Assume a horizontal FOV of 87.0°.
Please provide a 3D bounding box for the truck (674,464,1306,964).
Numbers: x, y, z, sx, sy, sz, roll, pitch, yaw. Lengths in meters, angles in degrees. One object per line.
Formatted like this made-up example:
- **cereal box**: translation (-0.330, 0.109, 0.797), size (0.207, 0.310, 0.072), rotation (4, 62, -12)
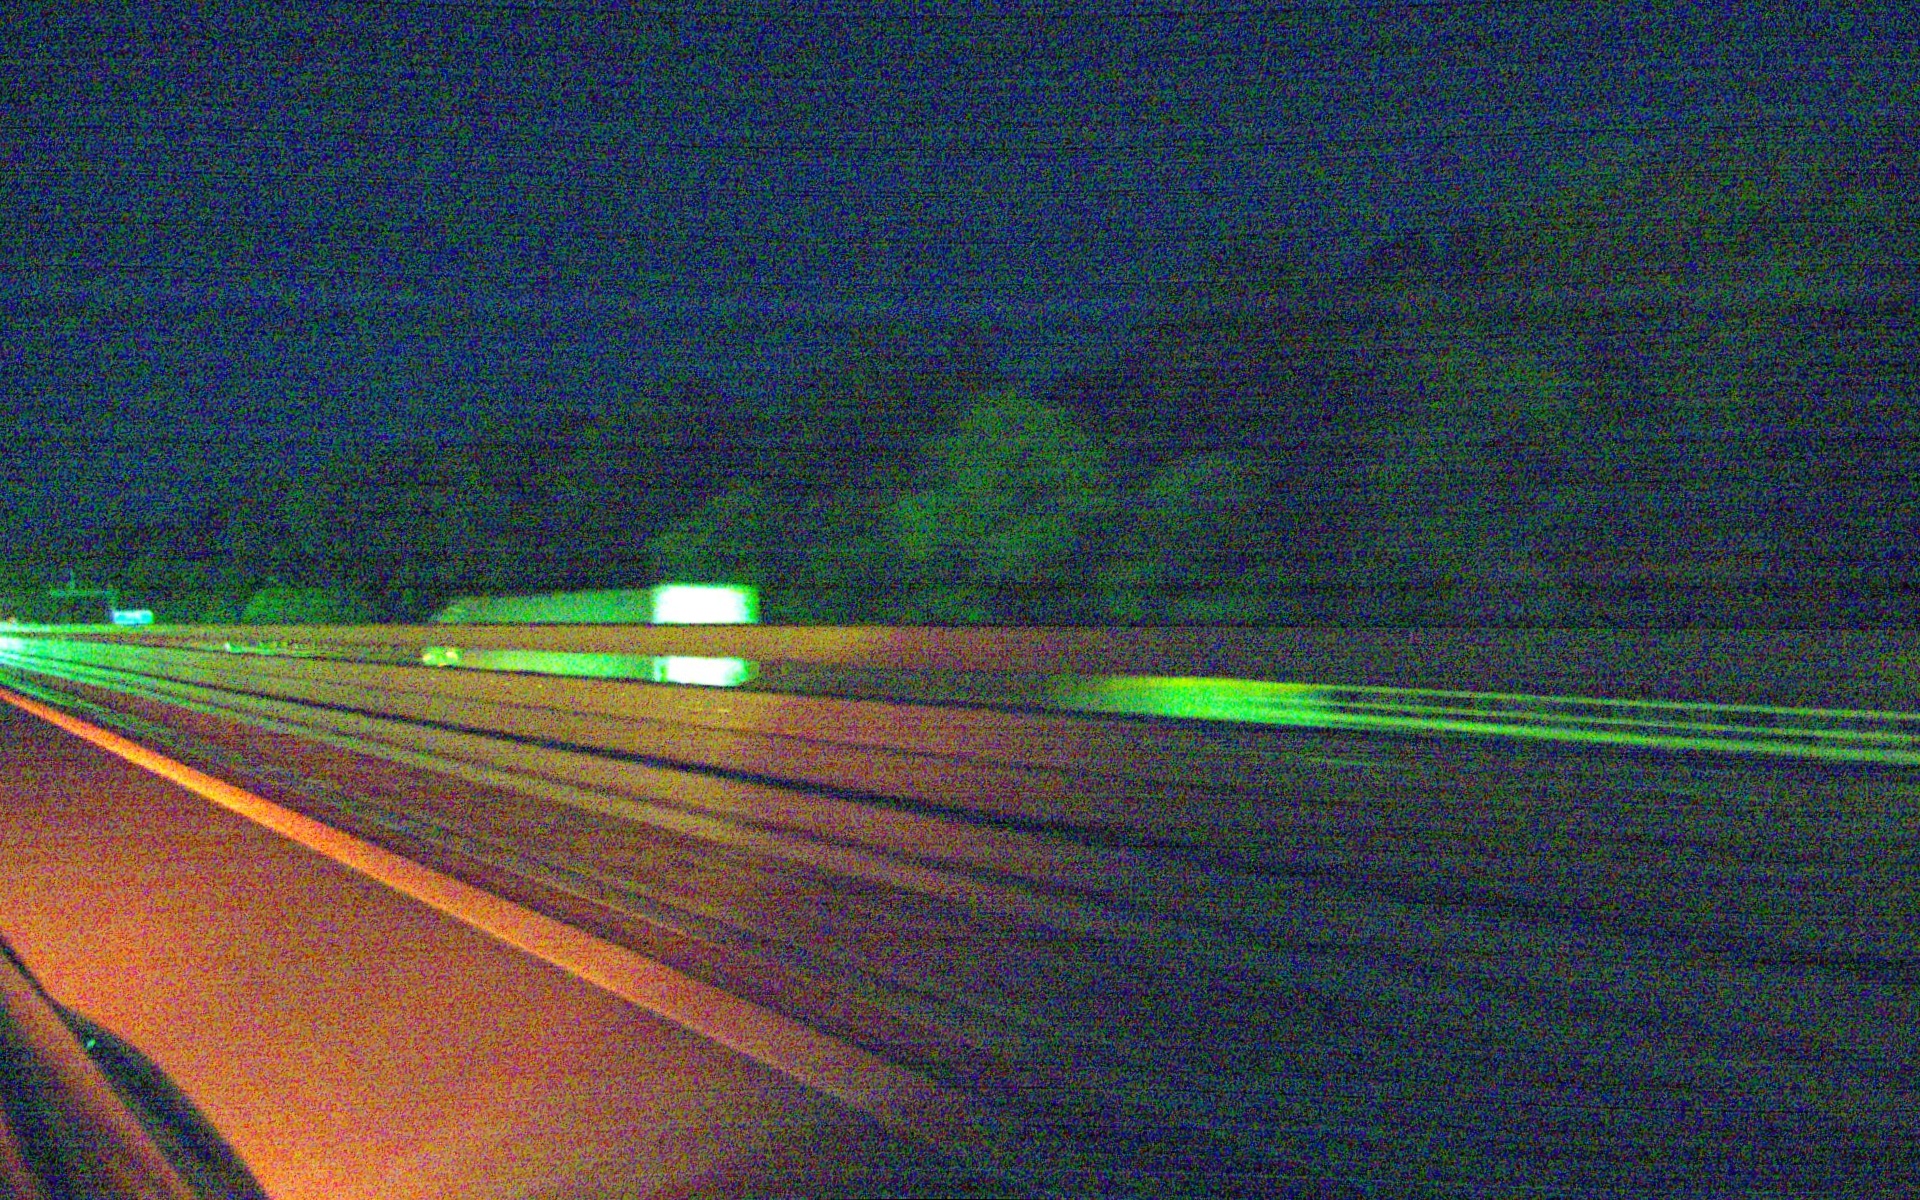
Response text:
- **truck**: translation (-0.097, 0.880, 10.885), size (6.755, 3.771, 2.575), rotation (-1, 0, 43)

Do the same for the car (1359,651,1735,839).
- **car**: translation (7.799, 1.768, 13.718), size (1.866, 2.029, 4.005), rotation (0, -2, -42)

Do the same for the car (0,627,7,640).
- **car**: translation (-156.776, 5.432, 164.658), size (3.995, 2.029, 1.974), rotation (-1, 0, 39)

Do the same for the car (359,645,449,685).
- **car**: translation (-23.272, 2.678, 42.296), size (4.402, 1.502, 1.972), rotation (-2, -2, 42)

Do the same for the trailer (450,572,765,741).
- **trailer**: translation (-11.878, 1.577, 32.308), size (14.815, 4.348, 3.113), rotation (-1, -1, 44)

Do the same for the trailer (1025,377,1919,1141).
- **trailer**: translation (5.149, 0.773, 6.232), size (10.125, 3.741, 2.508), rotation (-1, 0, 42)

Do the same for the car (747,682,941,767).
- **car**: translation (-2.689, 2.719, 22.880), size (4.402, 1.502, 1.972), rotation (-2, -2, 42)

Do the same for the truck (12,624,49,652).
- **truck**: translation (-123.861, 4.984, 134.803), size (8.544, 3.618, 2.627), rotation (-2, -2, 40)

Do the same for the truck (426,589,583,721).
- **truck**: translation (-16.641, 1.834, 36.782), size (6.284, 4.348, 3.053), rotation (-1, 0, 44)
